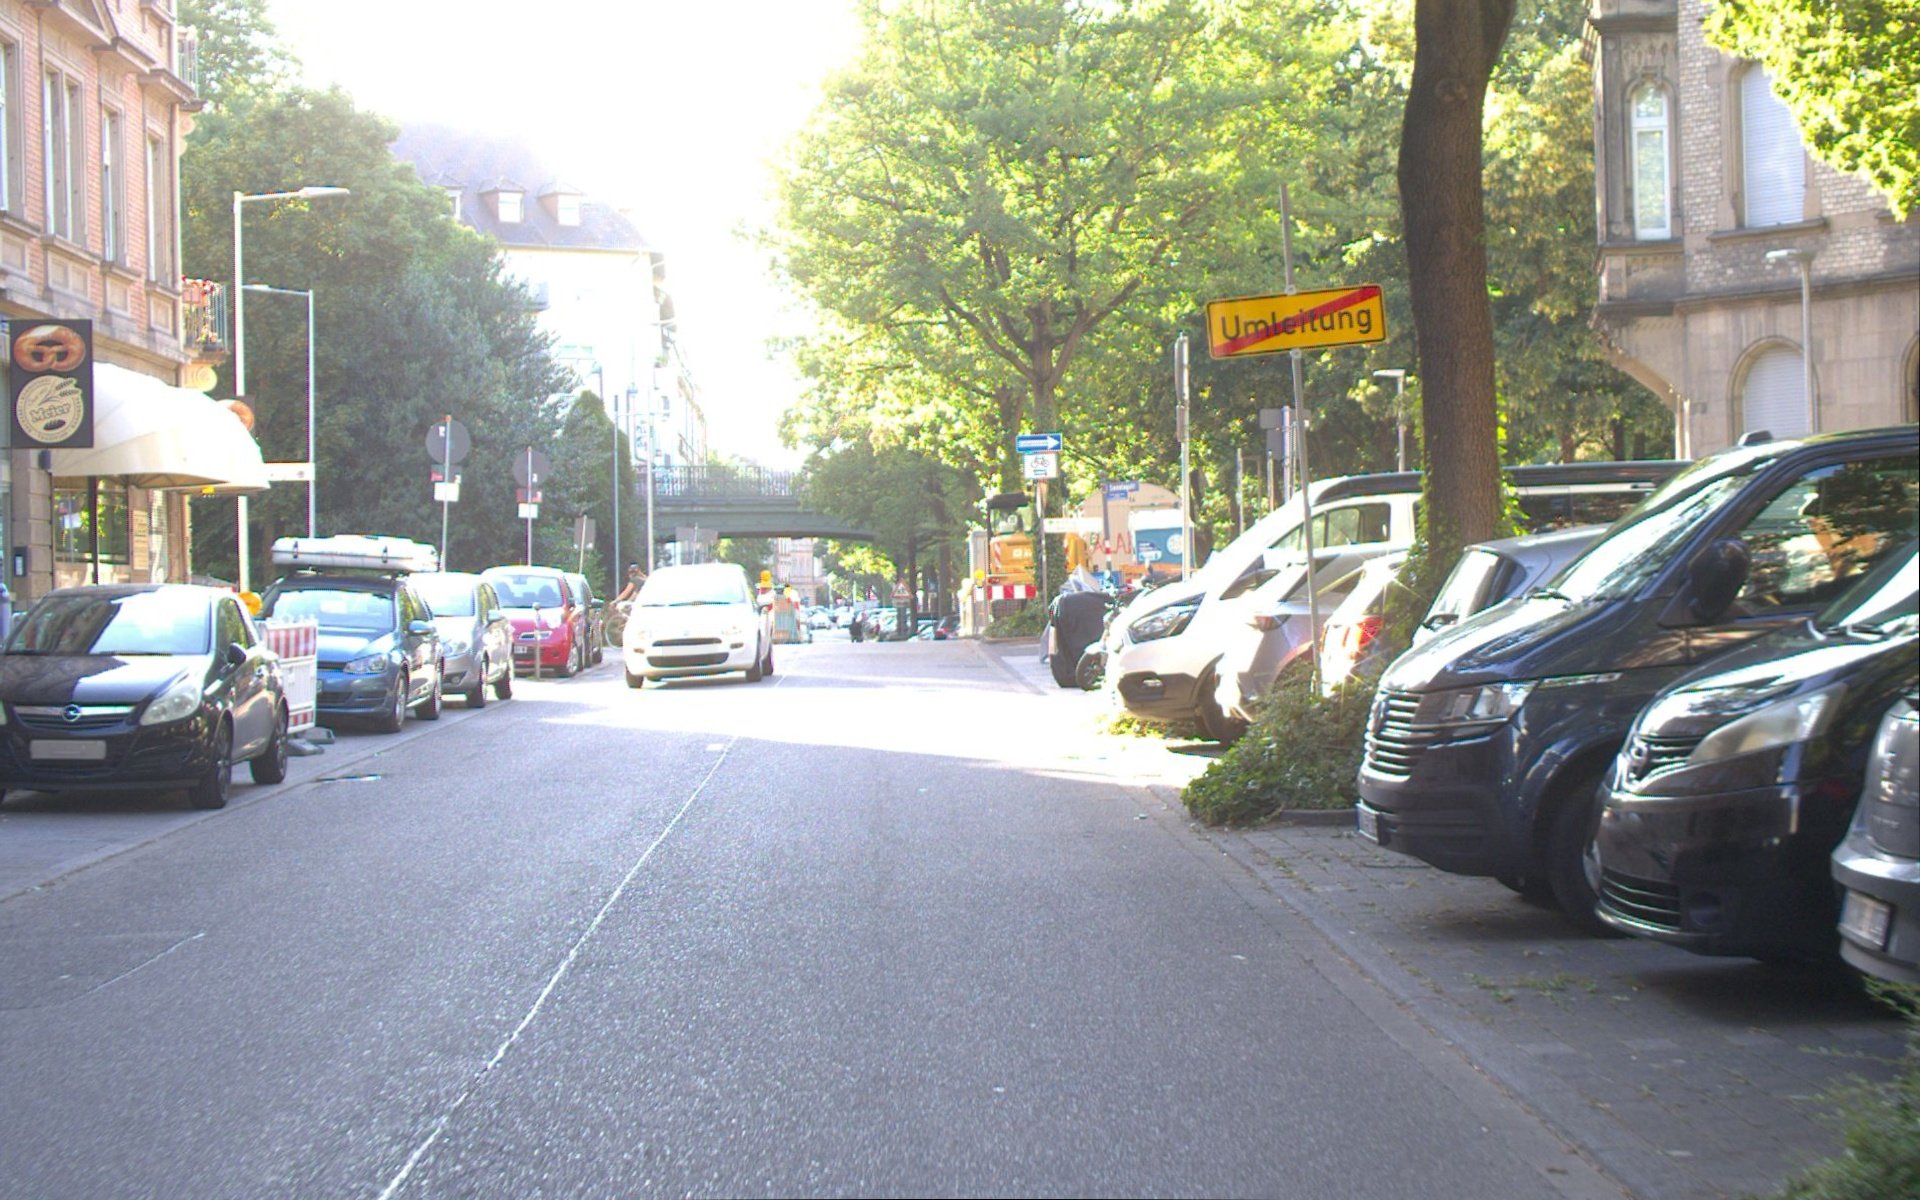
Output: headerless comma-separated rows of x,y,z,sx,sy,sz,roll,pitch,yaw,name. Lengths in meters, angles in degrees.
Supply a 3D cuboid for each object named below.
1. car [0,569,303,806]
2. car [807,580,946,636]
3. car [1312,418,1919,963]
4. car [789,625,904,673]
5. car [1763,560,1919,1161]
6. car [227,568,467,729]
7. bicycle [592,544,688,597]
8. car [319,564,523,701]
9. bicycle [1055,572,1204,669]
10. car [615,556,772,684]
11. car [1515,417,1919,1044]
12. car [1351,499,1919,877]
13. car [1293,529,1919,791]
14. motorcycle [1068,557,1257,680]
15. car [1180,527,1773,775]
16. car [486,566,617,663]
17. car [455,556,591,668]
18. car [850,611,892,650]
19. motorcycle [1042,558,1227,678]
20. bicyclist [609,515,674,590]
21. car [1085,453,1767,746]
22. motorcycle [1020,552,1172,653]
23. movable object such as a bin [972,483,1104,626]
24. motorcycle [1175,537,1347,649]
-5.701,0.539,23.705,1.703,1.449,4.021,-1,1,-3,car
-2.708,0.259,110.959,4.387,1.696,1.917,0,-3,-4,car
3.914,0.291,14.048,4.614,2.007,2.000,-1,1,-3,car
-4.436,1.923,133.887,4.387,1.779,1.917,0,-3,-4,car
4.342,0.584,9.183,3.987,1.443,1.890,-1,1,3,car
-5.965,0.431,33.876,1.764,1.432,4.301,-1,1,-3,car
-5.962,-0.551,64.009,0.803,0.965,2.108,0,1,-37,bicycle
-6.073,0.333,39.093,1.725,1.432,3.996,1,1,-1,car
2.221,0.265,45.087,1.924,1.242,0.303,-1,1,-7,bicycle
-3.346,0.215,43.697,1.749,1.504,4.000,-1,1,-1,car
4.210,0.336,11.500,4.267,1.878,1.940,-1,1,-4,car
4.061,0.371,16.837,3.986,1.686,1.800,-1,1,-3,car
4.142,0.348,21.729,3.840,1.510,1.848,-1,1,-1,car
2.252,0.205,38.379,2.014,1.322,0.621,-1,1,-5,motorcycle
3.551,0.331,24.096,3.840,1.590,1.741,-1,1,-1,car
-6.364,0.202,53.877,1.669,1.453,4.000,-1,0,-2,car
-6.242,0.149,49.424,1.669,1.525,4.001,-1,0,-4,car
-3.945,1.336,151.894,1.775,1.604,4.402,-2,1,-1,car
2.032,0.205,40.283,2.023,1.280,0.904,-3,1,-3,motorcycle
-5.928,-0.886,63.966,0.803,1.378,0.985,0,1,-37,bicyclist
3.542,-0.020,26.849,4.973,2.089,2.106,-1,1,-1,car
1.938,0.036,48.933,1.935,1.408,0.939,0,0,27,motorcycle
1.553,-0.878,67.167,1.994,2.690,3.109,-1,0,12,movable object such as a bin
4.221,-0.098,48.336,2.282,1.526,0.756,-1,0,-7,motorcycle
